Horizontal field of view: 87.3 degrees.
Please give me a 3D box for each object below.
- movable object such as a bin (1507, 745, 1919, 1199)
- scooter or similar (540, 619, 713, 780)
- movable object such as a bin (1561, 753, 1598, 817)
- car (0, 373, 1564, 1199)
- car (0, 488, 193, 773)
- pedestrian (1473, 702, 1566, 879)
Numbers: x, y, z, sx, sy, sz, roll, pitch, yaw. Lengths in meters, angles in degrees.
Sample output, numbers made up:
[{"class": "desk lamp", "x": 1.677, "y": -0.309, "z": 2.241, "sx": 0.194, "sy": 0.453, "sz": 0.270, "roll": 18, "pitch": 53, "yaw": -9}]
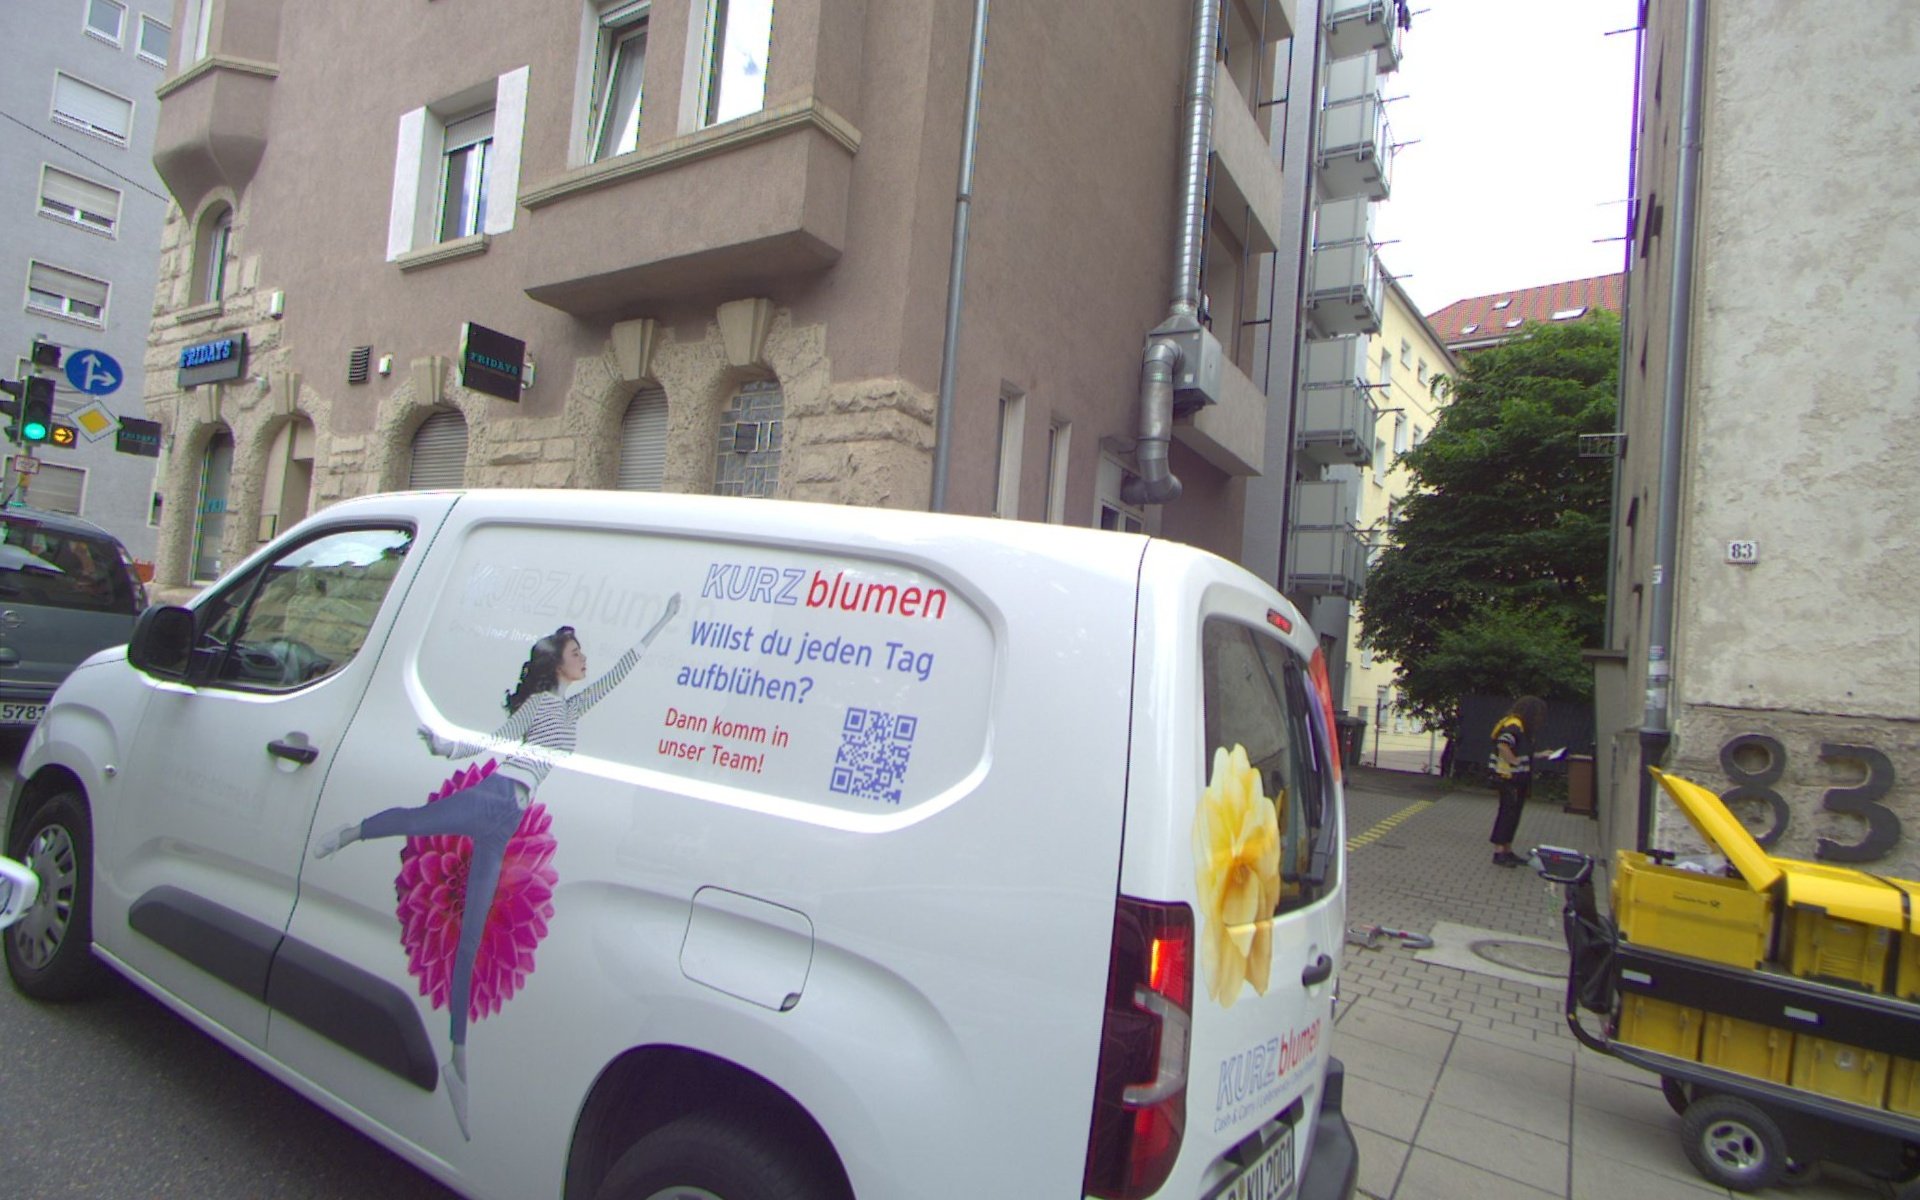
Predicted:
[{"class": "movable object such as a bin", "x": 3.363, "y": 1.457, "z": 3.973, "sx": 1.979, "sy": 1.391, "sz": 1.223, "roll": 6, "pitch": 0, "yaw": 30}, {"class": "scooter or similar", "x": -2.805, "y": 0.803, "z": 8.418, "sx": 1.400, "sy": 1.117, "sz": 0.527, "roll": 6, "pitch": -1, "yaw": 34}, {"class": "movable object such as a bin", "x": 9.869, "y": 2.937, "z": 16.023, "sx": 0.405, "sy": 0.922, "sz": 0.340, "roll": 6, "pitch": -1, "yaw": 32}, {"class": "car", "x": -0.949, "y": 0.567, "z": 3.103, "sx": 4.597, "sy": 1.793, "sz": 1.983, "roll": 6, "pitch": -5, "yaw": 30}, {"class": "car", "x": -7.007, "y": 0.017, "z": 6.712, "sx": 3.608, "sy": 1.614, "sz": 1.634, "roll": 6, "pitch": -5, "yaw": 32}, {"class": "pedestrian", "x": 5.721, "y": 1.892, "z": 10.271, "sx": 0.772, "sy": 1.665, "sz": 0.809, "roll": 0, "pitch": -3, "yaw": 32}]
